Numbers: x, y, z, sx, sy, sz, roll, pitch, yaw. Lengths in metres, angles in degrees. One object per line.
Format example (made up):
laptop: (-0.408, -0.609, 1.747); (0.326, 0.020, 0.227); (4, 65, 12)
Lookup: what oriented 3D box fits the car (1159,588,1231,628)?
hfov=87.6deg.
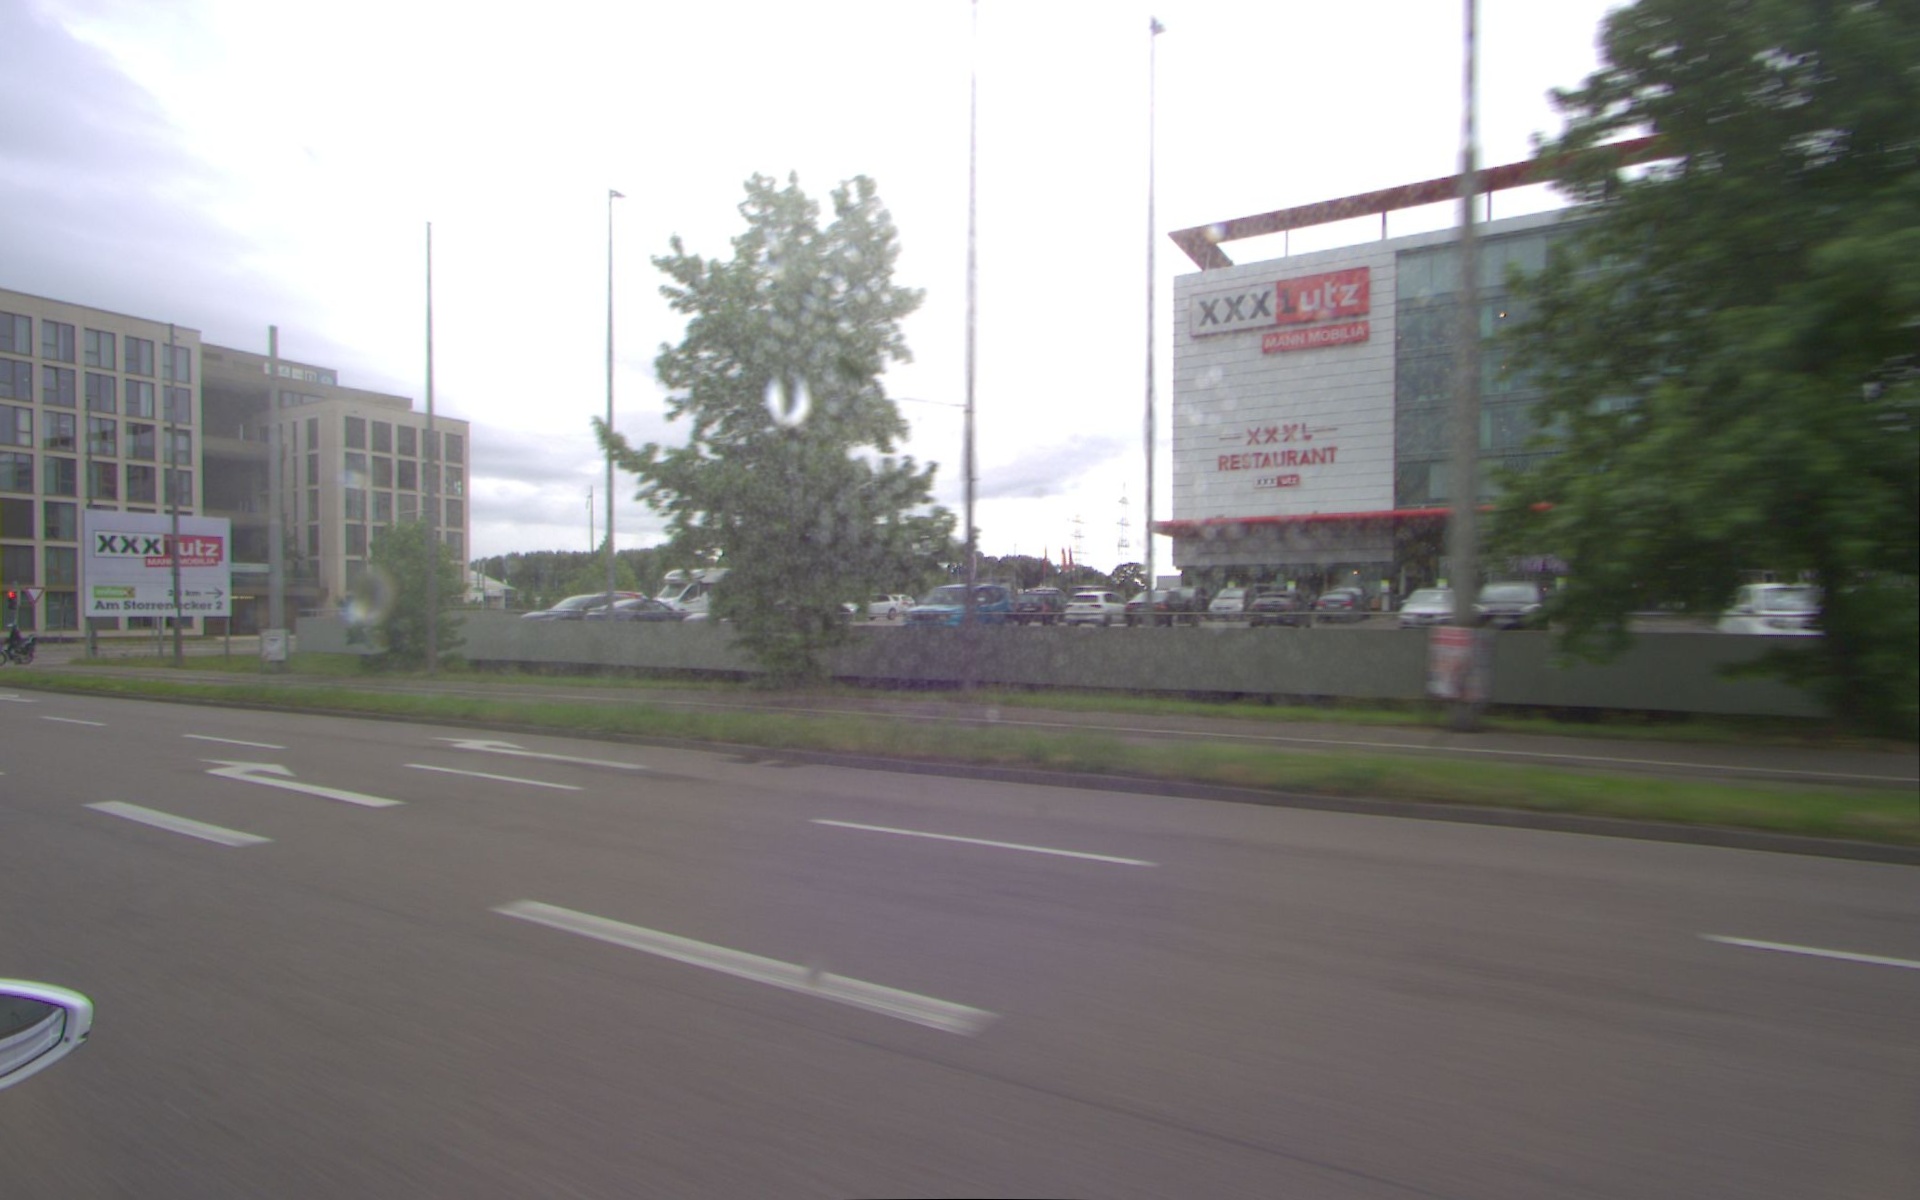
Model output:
car: (9.901, 0.368, 42.045); (1.678, 1.576, 3.622); (2, 0, 35)

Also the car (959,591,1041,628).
car: (1.780, 0.391, 43.415); (1.759, 1.528, 3.833); (1, 0, 35)

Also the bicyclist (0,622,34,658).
bicyclist: (-39.898, 1.691, 42.264); (0.981, 1.523, 0.702); (1, -1, -4)

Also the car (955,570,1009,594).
car: (1.752, -1.476, 81.558); (3.937, 1.884, 1.896); (2, 0, 28)

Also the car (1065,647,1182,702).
car: (3.954, 1.727, 23.875); (1.583, 1.146, 3.509); (-1, -2, 31)

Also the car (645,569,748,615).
car: (-13.755, -0.385, 52.556); (2.135, 2.240, 4.998); (2, 0, 35)

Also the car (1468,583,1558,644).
car: (16.277, 0.373, 29.370); (1.971, 1.613, 4.358); (2, 1, 33)

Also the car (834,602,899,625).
car: (-5.173, 0.754, 55.627); (1.440, 1.237, 3.606); (2, 0, 39)

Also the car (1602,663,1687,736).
car: (20.463, 2.895, 30.080); (1.972, 1.855, 4.359); (-1, -2, 33)

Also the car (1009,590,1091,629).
car: (3.812, 0.386, 42.057); (1.759, 1.528, 3.833); (1, 0, 35)

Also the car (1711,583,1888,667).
car: (14.873, 0.426, 17.945); (1.580, 1.325, 3.513); (2, 0, 26)

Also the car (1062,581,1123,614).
car: (6.928, -0.121, 52.158); (1.579, 1.576, 3.622); (2, 0, 35)

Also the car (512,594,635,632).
car: (-13.196, 0.451, 34.346); (1.695, 1.192, 3.688); (1, 0, 31)

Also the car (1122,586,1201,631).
car: (7.860, 0.351, 38.858); (1.678, 1.654, 3.622); (2, 0, 35)

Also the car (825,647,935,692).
car: (-2.686, 2.348, 34.409); (1.738, 1.367, 4.048); (-1, -2, 32)

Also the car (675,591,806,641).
car: (-6.543, 0.477, 30.170); (1.694, 1.402, 3.868); (1, 0, 30)

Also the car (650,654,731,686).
car: (-12.857, 3.329, 47.892); (1.439, 1.303, 3.609); (2, 0, 36)

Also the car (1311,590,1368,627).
car: (17.308, 0.370, 45.599); (1.779, 1.602, 3.802); (2, 1, 30)

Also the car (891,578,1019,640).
car: (-0.051, 0.246, 27.213); (1.783, 1.545, 4.066); (1, 0, 28)

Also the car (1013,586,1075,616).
car: (4.545, 0.063, 53.843); (1.678, 1.515, 3.622); (2, 0, 35)

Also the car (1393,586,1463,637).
car: (16.149, 0.347, 34.446); (1.819, 1.540, 4.222); (2, 3, 30)

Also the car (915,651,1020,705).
car: (0.349, 2.902, 38.044); (1.972, 1.855, 4.359); (-1, -2, 33)

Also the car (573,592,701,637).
car: (-10.652, 0.487, 33.279); (1.695, 1.369, 3.918); (1, 0, 31)

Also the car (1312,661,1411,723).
car: (10.628, 2.354, 26.341); (1.739, 1.367, 4.047); (-1, -2, 32)

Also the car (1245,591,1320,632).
car: (11.843, 0.436, 36.671); (1.677, 1.374, 3.624); (2, 0, 33)

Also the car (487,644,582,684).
car: (-23.811, 3.524, 56.000); (5.035, 2.039, 2.451); (-1, -2, 32)

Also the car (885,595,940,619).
car: (-3.198, 0.512, 68.596); (1.840, 1.598, 3.980); (-1, -2, 32)

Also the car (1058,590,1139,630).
car: (5.690, 0.389, 40.820); (1.759, 1.528, 3.834); (1, 0, 33)

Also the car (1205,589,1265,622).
car: (13.434, 0.275, 48.792); (1.678, 1.515, 3.622); (2, 0, 35)

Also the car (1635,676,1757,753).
car: (16.609, 2.523, 22.779); (1.737, 1.367, 4.051); (-1, -2, 29)

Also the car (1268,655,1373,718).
car: (7.860, 1.818, 21.653); (1.494, 1.146, 3.509); (-1, -2, 31)

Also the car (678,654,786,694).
car: (-8.623, 2.783, 38.221); (1.738, 1.367, 4.049); (-1, -2, 31)

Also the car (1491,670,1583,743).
car: (11.199, 1.996, 19.411); (1.433, 1.146, 3.509); (-1, -2, 31)

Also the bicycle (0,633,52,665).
bicycle: (-39.680, 2.076, 42.276); (1.972, 1.312, 0.702); (1, -1, -4)

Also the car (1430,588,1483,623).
car: (21.393, 0.269, 43.099); (1.676, 1.412, 3.680); (2, 0, 32)

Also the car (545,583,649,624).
car: (-16.350, 0.182, 45.305); (4.186, 1.702, 1.838); (2, 0, -14)

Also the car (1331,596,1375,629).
car: (19.996, 0.651, 50.858); (1.674, 1.552, 3.631); (2, 0, 27)
